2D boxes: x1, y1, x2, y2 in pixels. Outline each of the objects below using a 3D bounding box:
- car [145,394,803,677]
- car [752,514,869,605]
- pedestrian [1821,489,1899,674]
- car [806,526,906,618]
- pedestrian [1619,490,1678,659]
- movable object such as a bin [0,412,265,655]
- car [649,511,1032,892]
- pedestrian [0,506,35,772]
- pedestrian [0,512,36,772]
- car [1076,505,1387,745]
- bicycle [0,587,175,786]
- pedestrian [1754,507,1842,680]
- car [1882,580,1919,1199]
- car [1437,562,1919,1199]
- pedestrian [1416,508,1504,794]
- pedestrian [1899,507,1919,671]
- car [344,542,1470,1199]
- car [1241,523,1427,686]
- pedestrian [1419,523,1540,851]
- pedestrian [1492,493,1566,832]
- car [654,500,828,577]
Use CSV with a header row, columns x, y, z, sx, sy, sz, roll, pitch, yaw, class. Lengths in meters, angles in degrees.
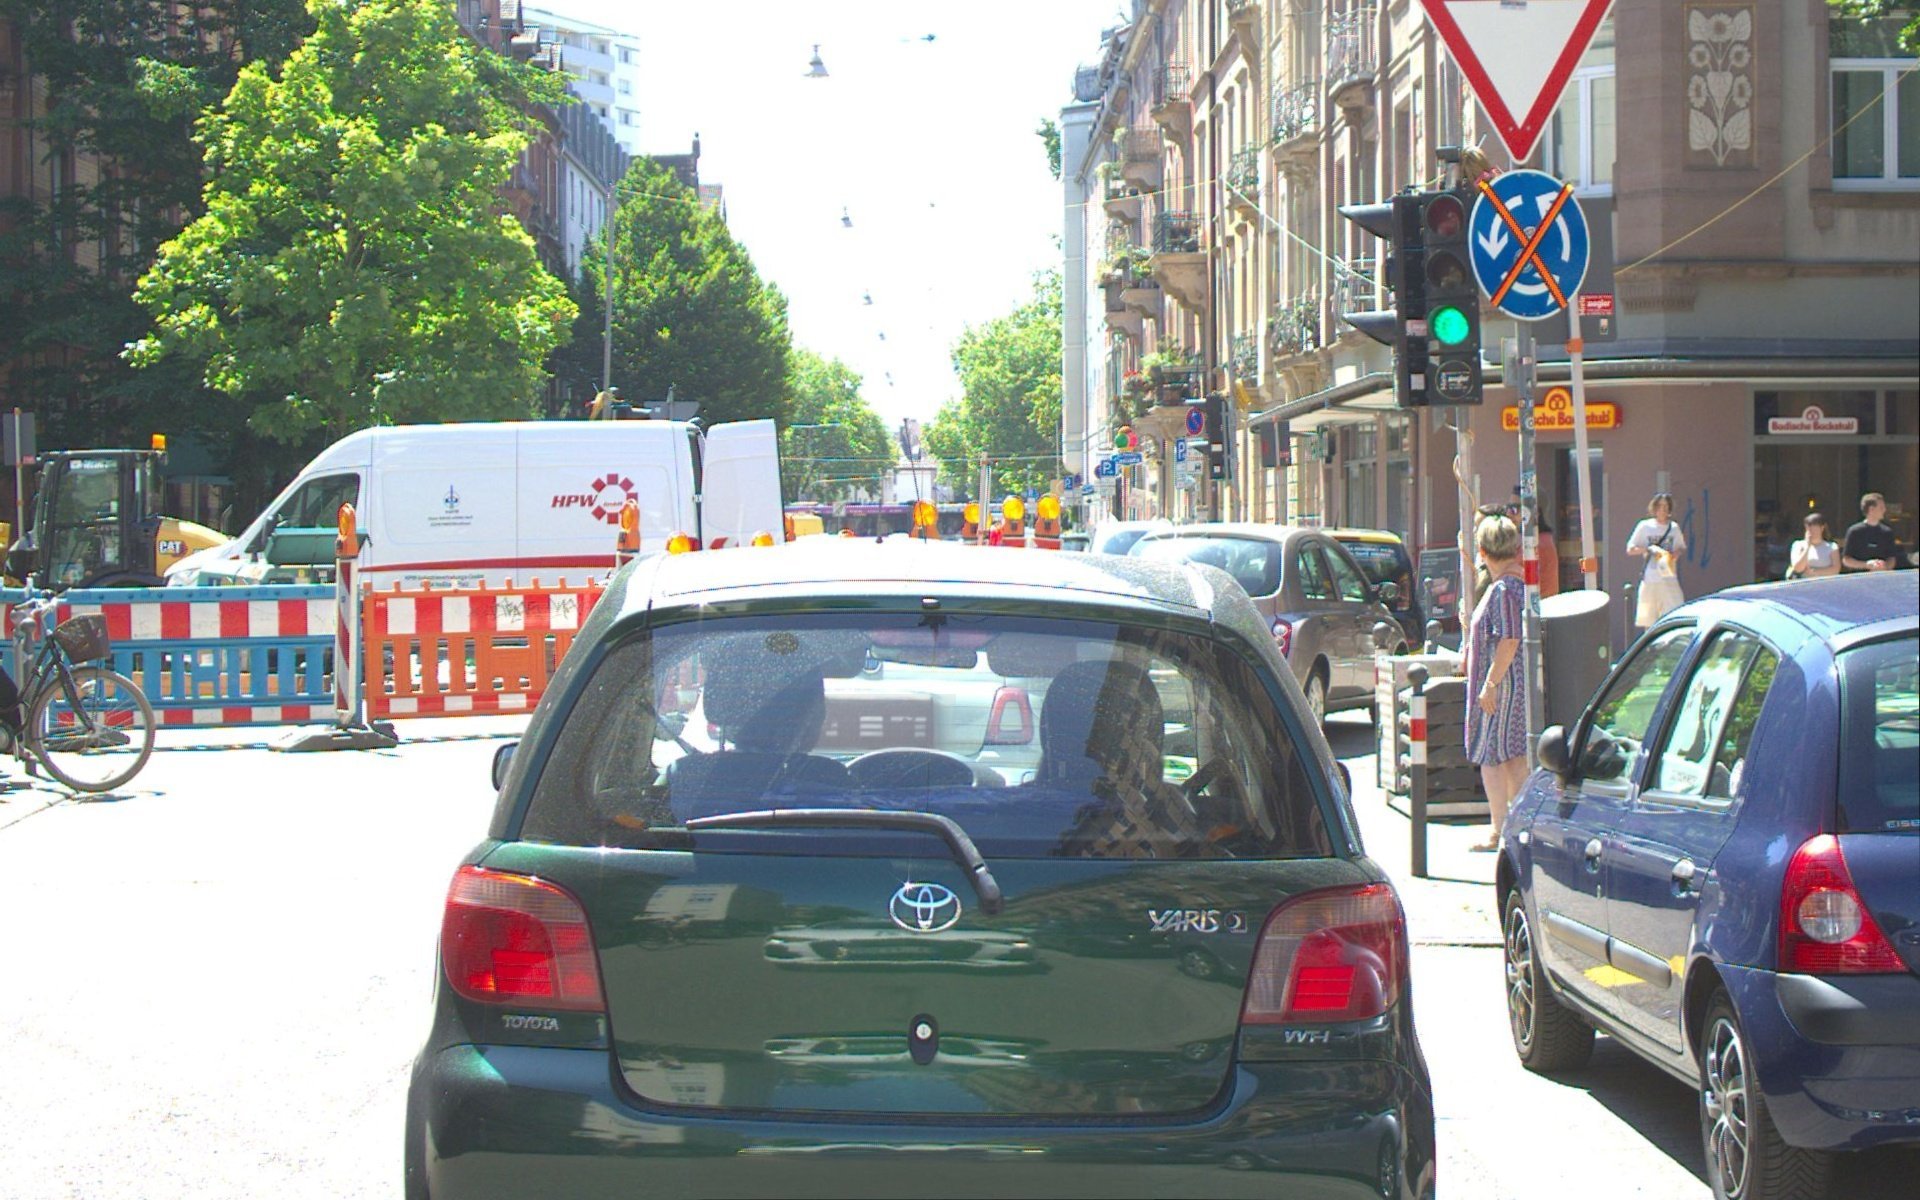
x,y,z,sx,sy,sz,roll,pitch,yaw,class
-5.097,-0.690,36.808,6.622,2.742,2.380,2,1,1,car
-2.436,-0.683,56.810,1.754,1.439,4.000,-1,1,0,car
8.841,-0.186,33.776,0.575,1.762,0.472,-3,5,-8,pedestrian
-1.978,-0.568,66.572,1.754,1.639,4.378,-3,1,0,car
7.117,-0.260,35.520,0.478,1.727,0.871,0,0,19,pedestrian
-10.506,-0.794,39.541,4.543,2.650,1.955,2,1,1,movable object such as a bin
-0.503,0.362,15.321,1.522,1.516,3.264,0,1,-1,car
-5.859,0.224,20.404,0.496,1.560,0.459,3,2,26,pedestrian
-6.045,0.258,21.544,0.389,1.612,0.475,0,1,-3,pedestrian
1.995,0.118,24.531,1.524,1.587,3.261,0,1,17,car
-5.609,0.492,20.578,1.807,1.115,0.467,2,2,21,bicycle
8.180,-0.068,33.569,0.701,1.639,0.423,-3,5,-8,pedestrian
2.482,0.706,3.455,1.725,1.427,4.486,-1,1,-2,car
2.367,0.644,8.776,1.627,1.427,3.661,-1,1,-2,car
2.756,0.273,18.974,0.459,1.555,0.479,0,1,6,pedestrian
9.883,-0.115,34.361,0.801,1.618,0.643,0,1,-2,pedestrian
-0.029,0.642,6.585,1.614,1.480,3.241,1,1,2,car
3.534,0.002,32.598,1.627,1.427,3.659,-1,1,6,car
2.488,0.410,16.492,0.493,1.538,0.436,-2,1,6,pedestrian
2.836,0.305,17.153,0.332,1.670,0.401,0,1,6,pedestrian
-6.267,-1.766,98.564,4.557,2.180,2.000,0,1,-27,car
